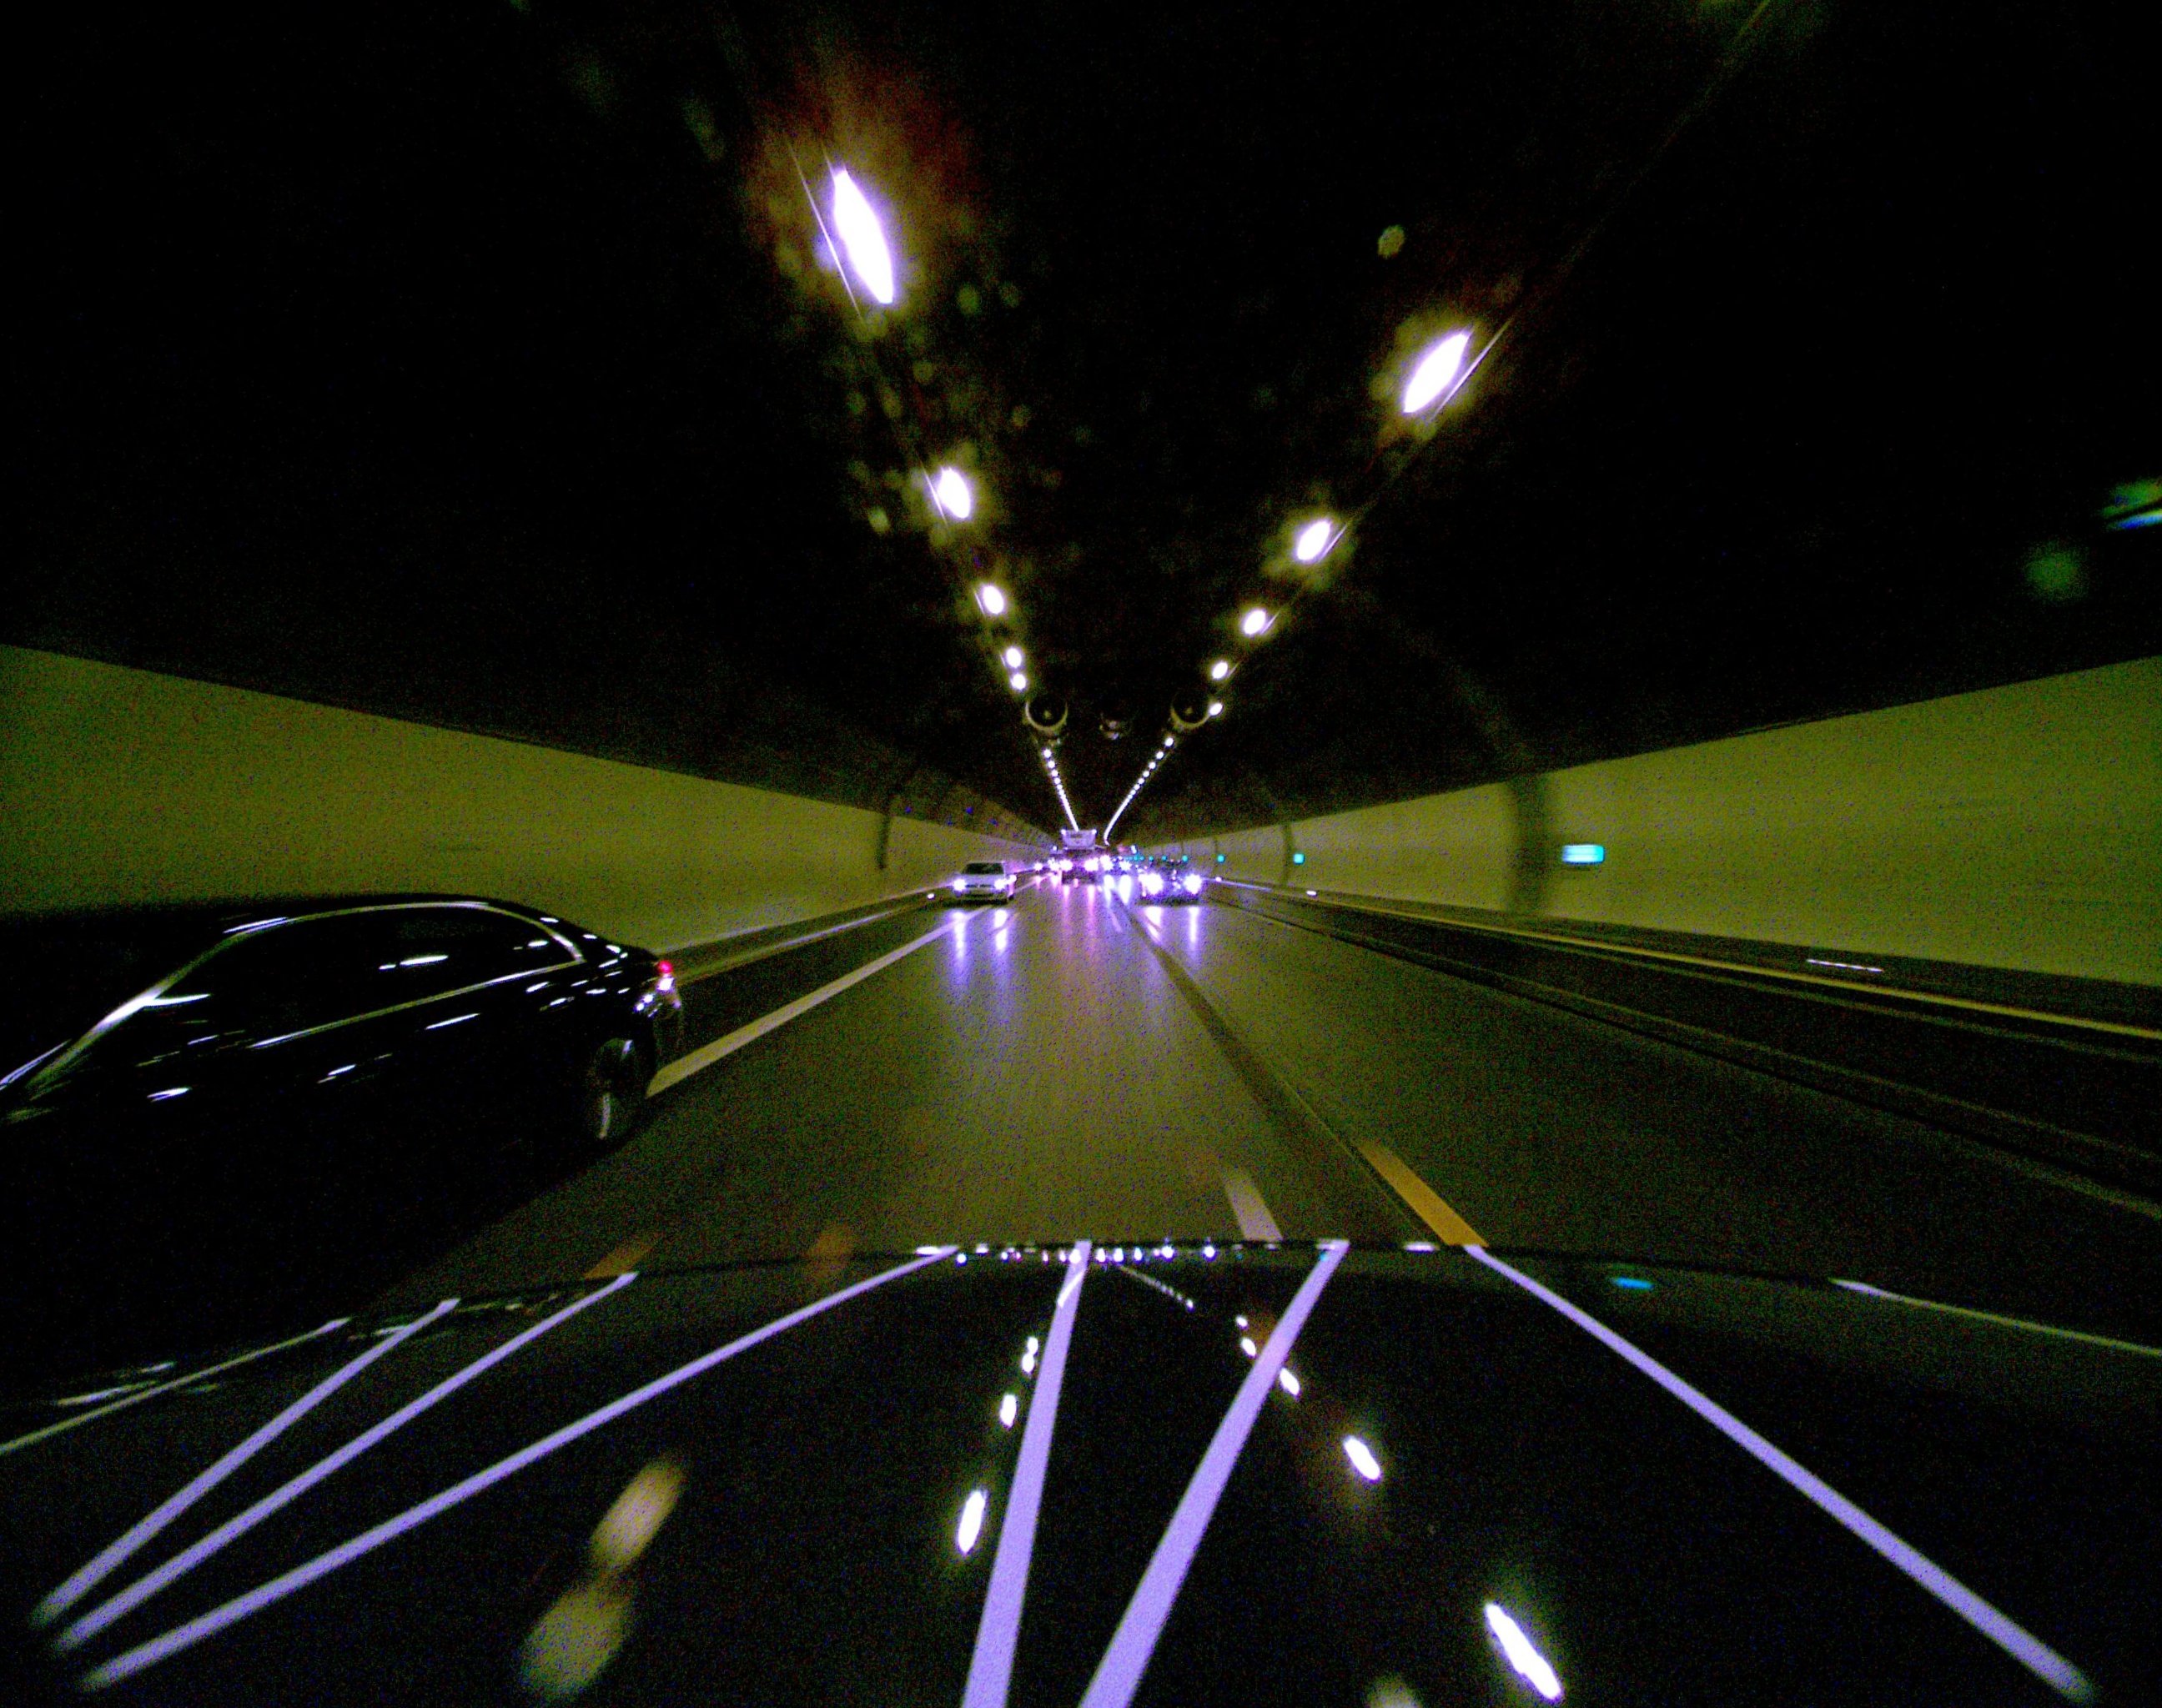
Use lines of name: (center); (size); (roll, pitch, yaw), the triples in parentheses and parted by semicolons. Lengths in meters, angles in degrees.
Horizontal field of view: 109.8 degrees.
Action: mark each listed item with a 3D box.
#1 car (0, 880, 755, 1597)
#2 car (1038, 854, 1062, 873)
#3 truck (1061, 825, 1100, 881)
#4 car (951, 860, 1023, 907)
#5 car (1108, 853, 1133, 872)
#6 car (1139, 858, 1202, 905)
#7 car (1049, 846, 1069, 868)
car: (-3.374, 0.941, 3.012); (1.930, 1.464, 4.954); (-1, 0, 1)
car: (-2.713, 0.835, 67.508); (1.958, 1.527, 4.758); (-1, 0, 0)
truck: (-0.007, -0.060, 47.453); (2.262, 3.238, 7.383); (0, 0, 1)
car: (-3.137, 0.939, 26.046); (1.801, 1.452, 4.035); (0, 0, 2)
car: (3.536, 0.707, 68.314); (1.958, 1.527, 4.758); (-3, 0, 0)
car: (2.882, 0.854, 24.993); (1.657, 1.395, 3.657); (-1, 0, 0)
car: (-2.728, 0.388, 95.480); (2.124, 2.629, 6.229); (-1, 1, 0)
